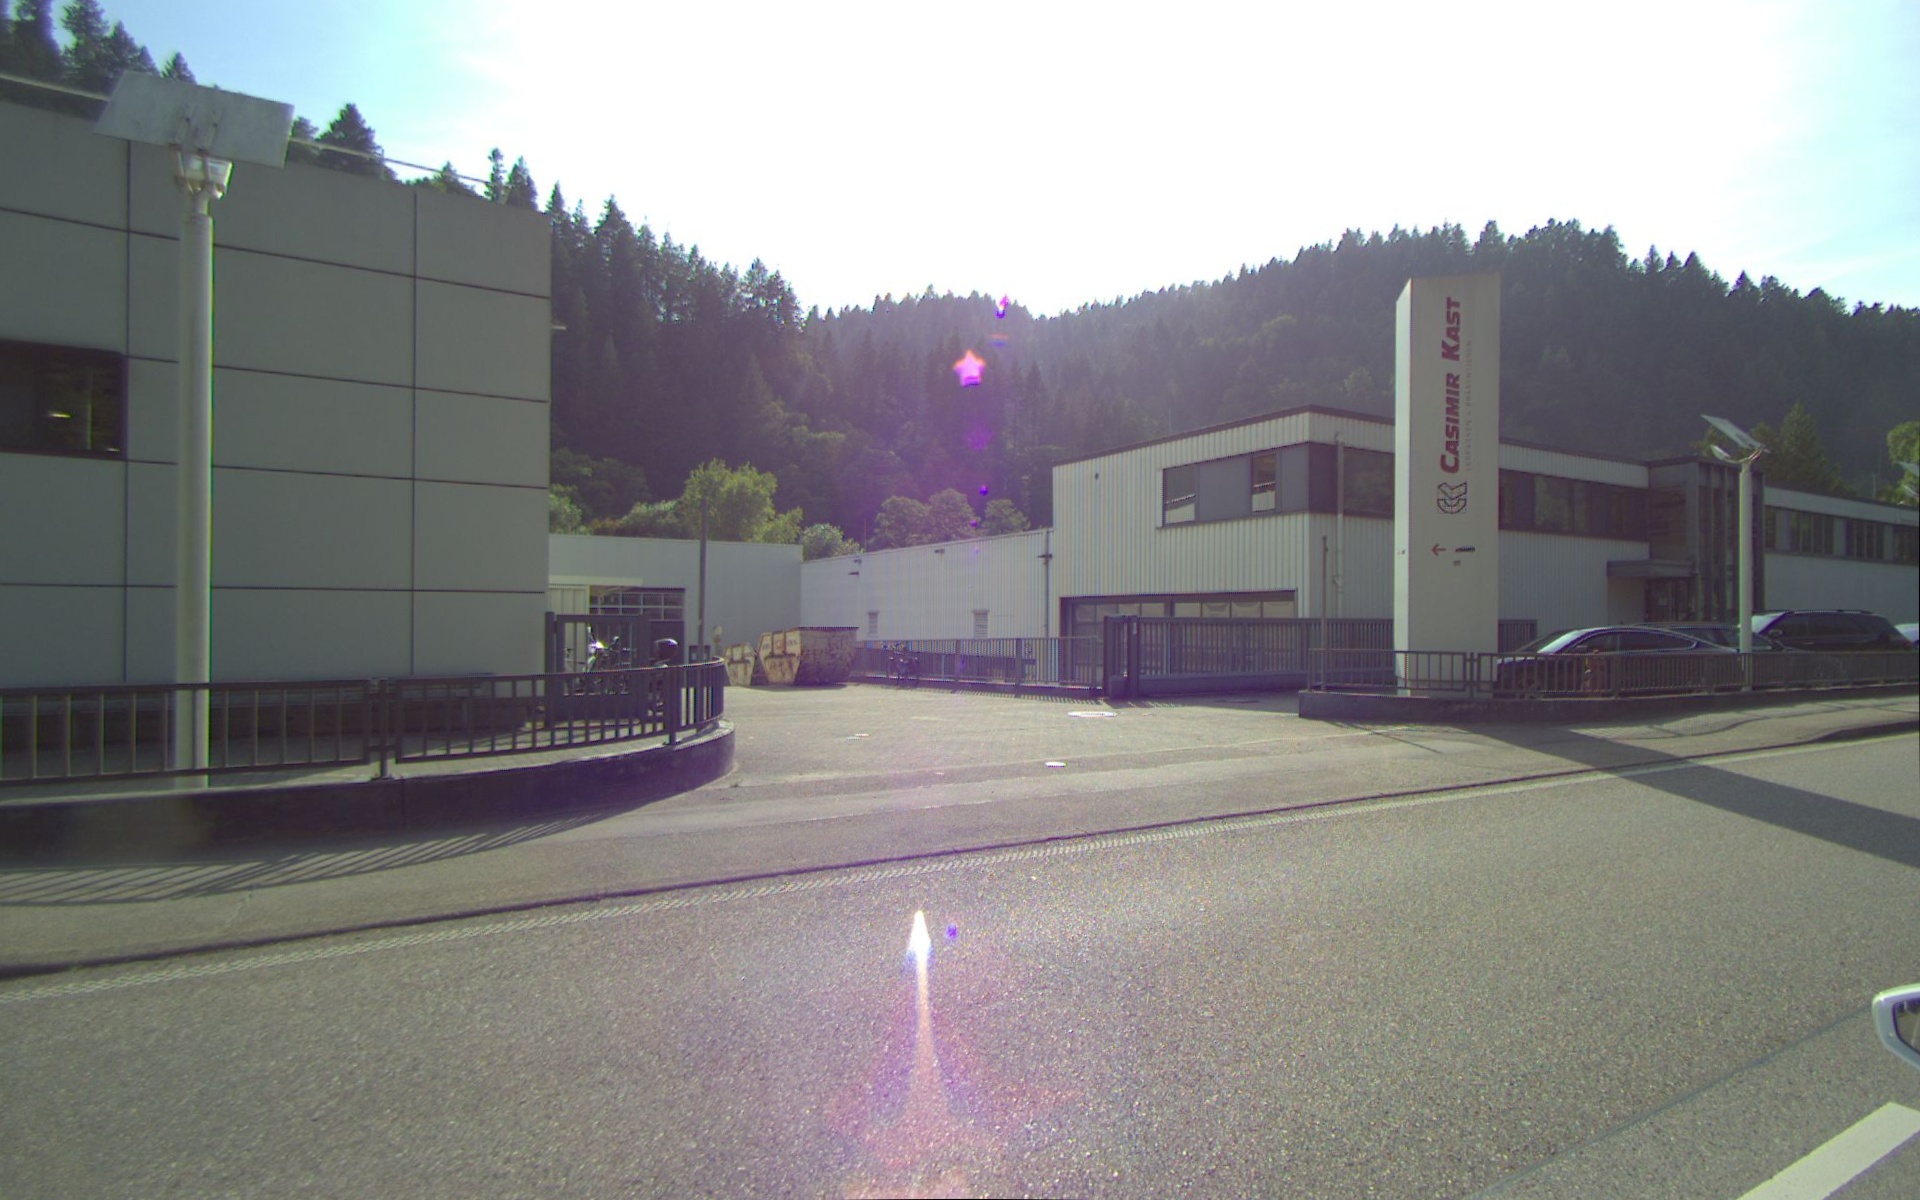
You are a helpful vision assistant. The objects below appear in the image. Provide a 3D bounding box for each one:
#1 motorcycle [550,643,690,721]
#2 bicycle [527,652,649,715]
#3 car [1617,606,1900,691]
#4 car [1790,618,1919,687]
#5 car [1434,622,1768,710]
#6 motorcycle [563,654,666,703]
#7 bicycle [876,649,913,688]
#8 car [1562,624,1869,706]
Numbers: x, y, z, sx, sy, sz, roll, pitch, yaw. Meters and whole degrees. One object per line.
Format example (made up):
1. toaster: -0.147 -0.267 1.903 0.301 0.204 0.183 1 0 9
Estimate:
1. motorcycle: -5.411 1.279 16.047 2.064 1.168 0.510 1 -2 -30
2. bicycle: -6.343 1.411 17.174 1.889 1.003 0.510 1 -2 -30
3. car: 17.510 1.043 22.220 4.596 1.765 2.001 0 -1 3
4. car: 23.660 1.296 24.870 4.761 1.582 1.998 2 -1 -5
5. car: 10.838 1.093 17.191 4.641 1.393 1.712 1 -1 0
6. motorcycle: -7.010 1.577 20.414 1.905 0.944 0.511 1 -2 -31
7. bicycle: -1.746 1.794 26.640 0.283 0.990 1.671 1 -2 -29
8. car: 14.442 1.216 19.370 4.641 1.458 1.712 1 -1 0
